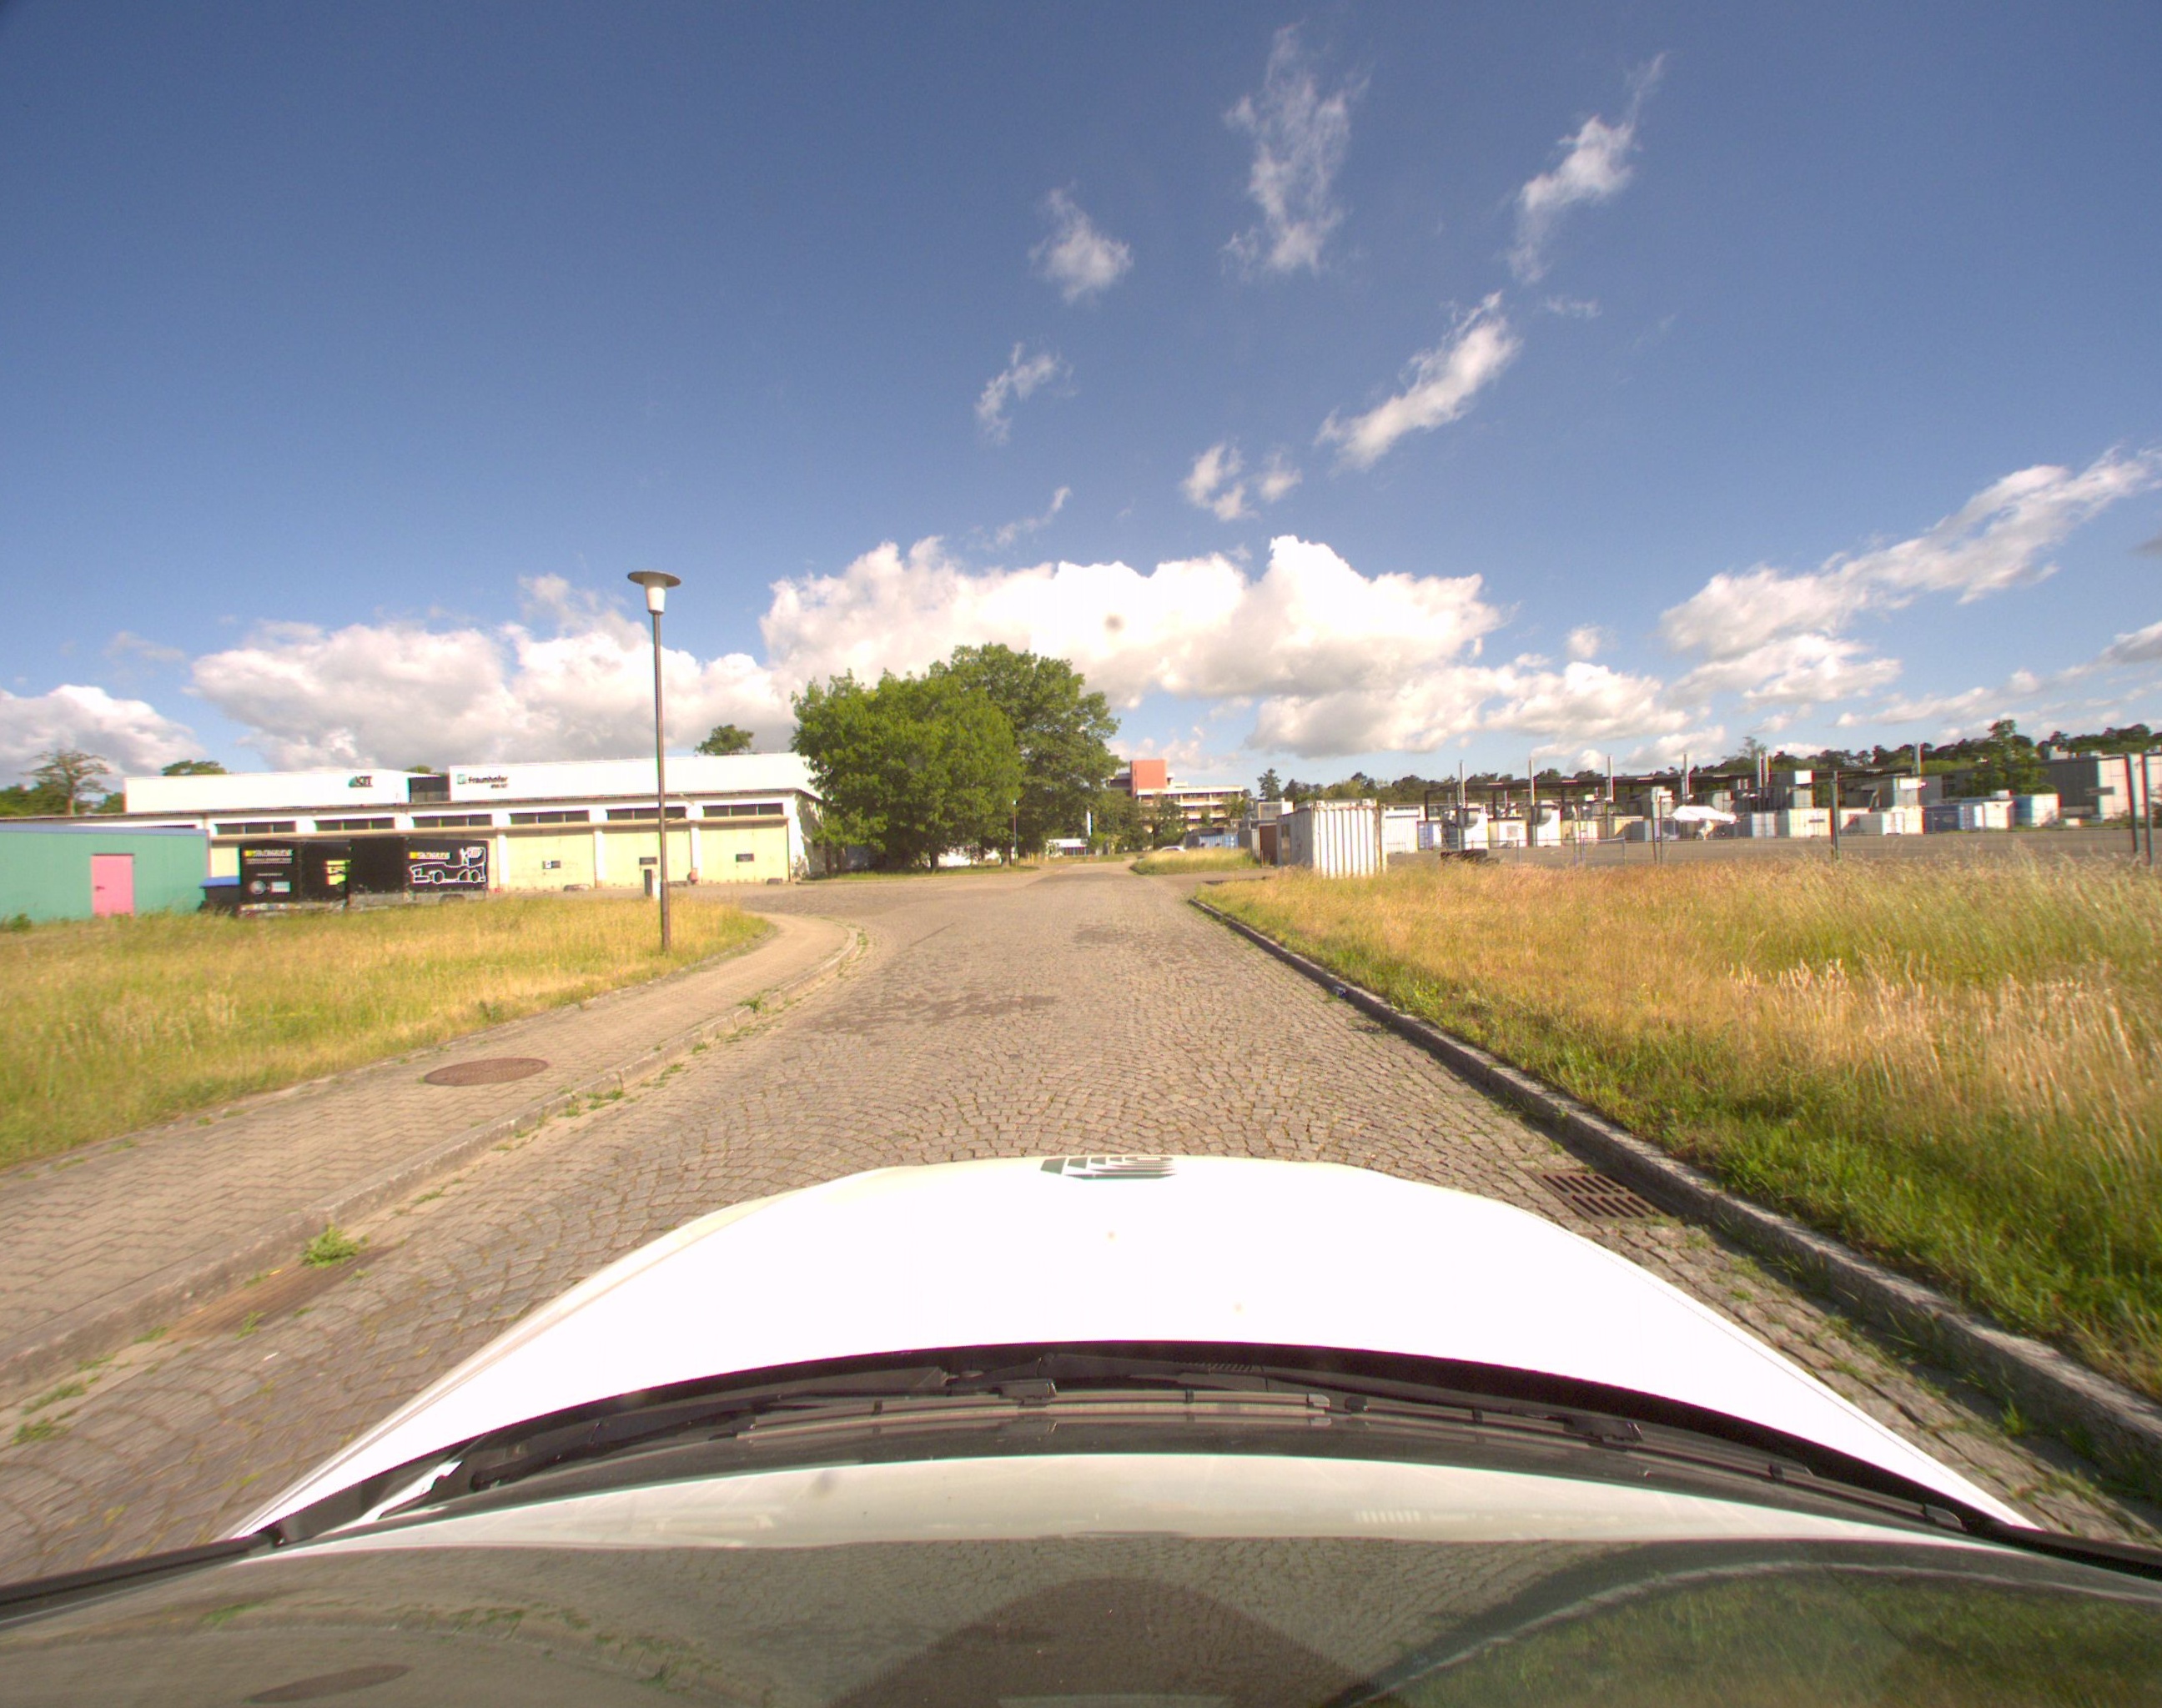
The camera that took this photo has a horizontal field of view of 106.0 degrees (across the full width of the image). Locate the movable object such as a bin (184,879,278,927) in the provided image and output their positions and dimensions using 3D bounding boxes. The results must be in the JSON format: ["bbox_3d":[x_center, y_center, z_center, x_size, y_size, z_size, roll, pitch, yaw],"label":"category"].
[{"bbox_3d":[-27.171,1.554,26.080,1.531,1.386,1.381,-2,0,-11],"label":"movable object such as a bin"}]

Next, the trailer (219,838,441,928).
[{"bbox_3d":[-22.267,0.774,24.528,2.083,2.354,4.971,-2,0,-2],"label":"trailer"}]

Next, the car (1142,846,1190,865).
[{"bbox_3d":[8.376,0.158,80.877,4.490,1.647,1.999,-2,0,-1],"label":"car"}]

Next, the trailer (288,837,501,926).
[{"bbox_3d":[-19.966,0.735,24.045,2.121,2.298,4.673,-2,0,2],"label":"trailer"}]
